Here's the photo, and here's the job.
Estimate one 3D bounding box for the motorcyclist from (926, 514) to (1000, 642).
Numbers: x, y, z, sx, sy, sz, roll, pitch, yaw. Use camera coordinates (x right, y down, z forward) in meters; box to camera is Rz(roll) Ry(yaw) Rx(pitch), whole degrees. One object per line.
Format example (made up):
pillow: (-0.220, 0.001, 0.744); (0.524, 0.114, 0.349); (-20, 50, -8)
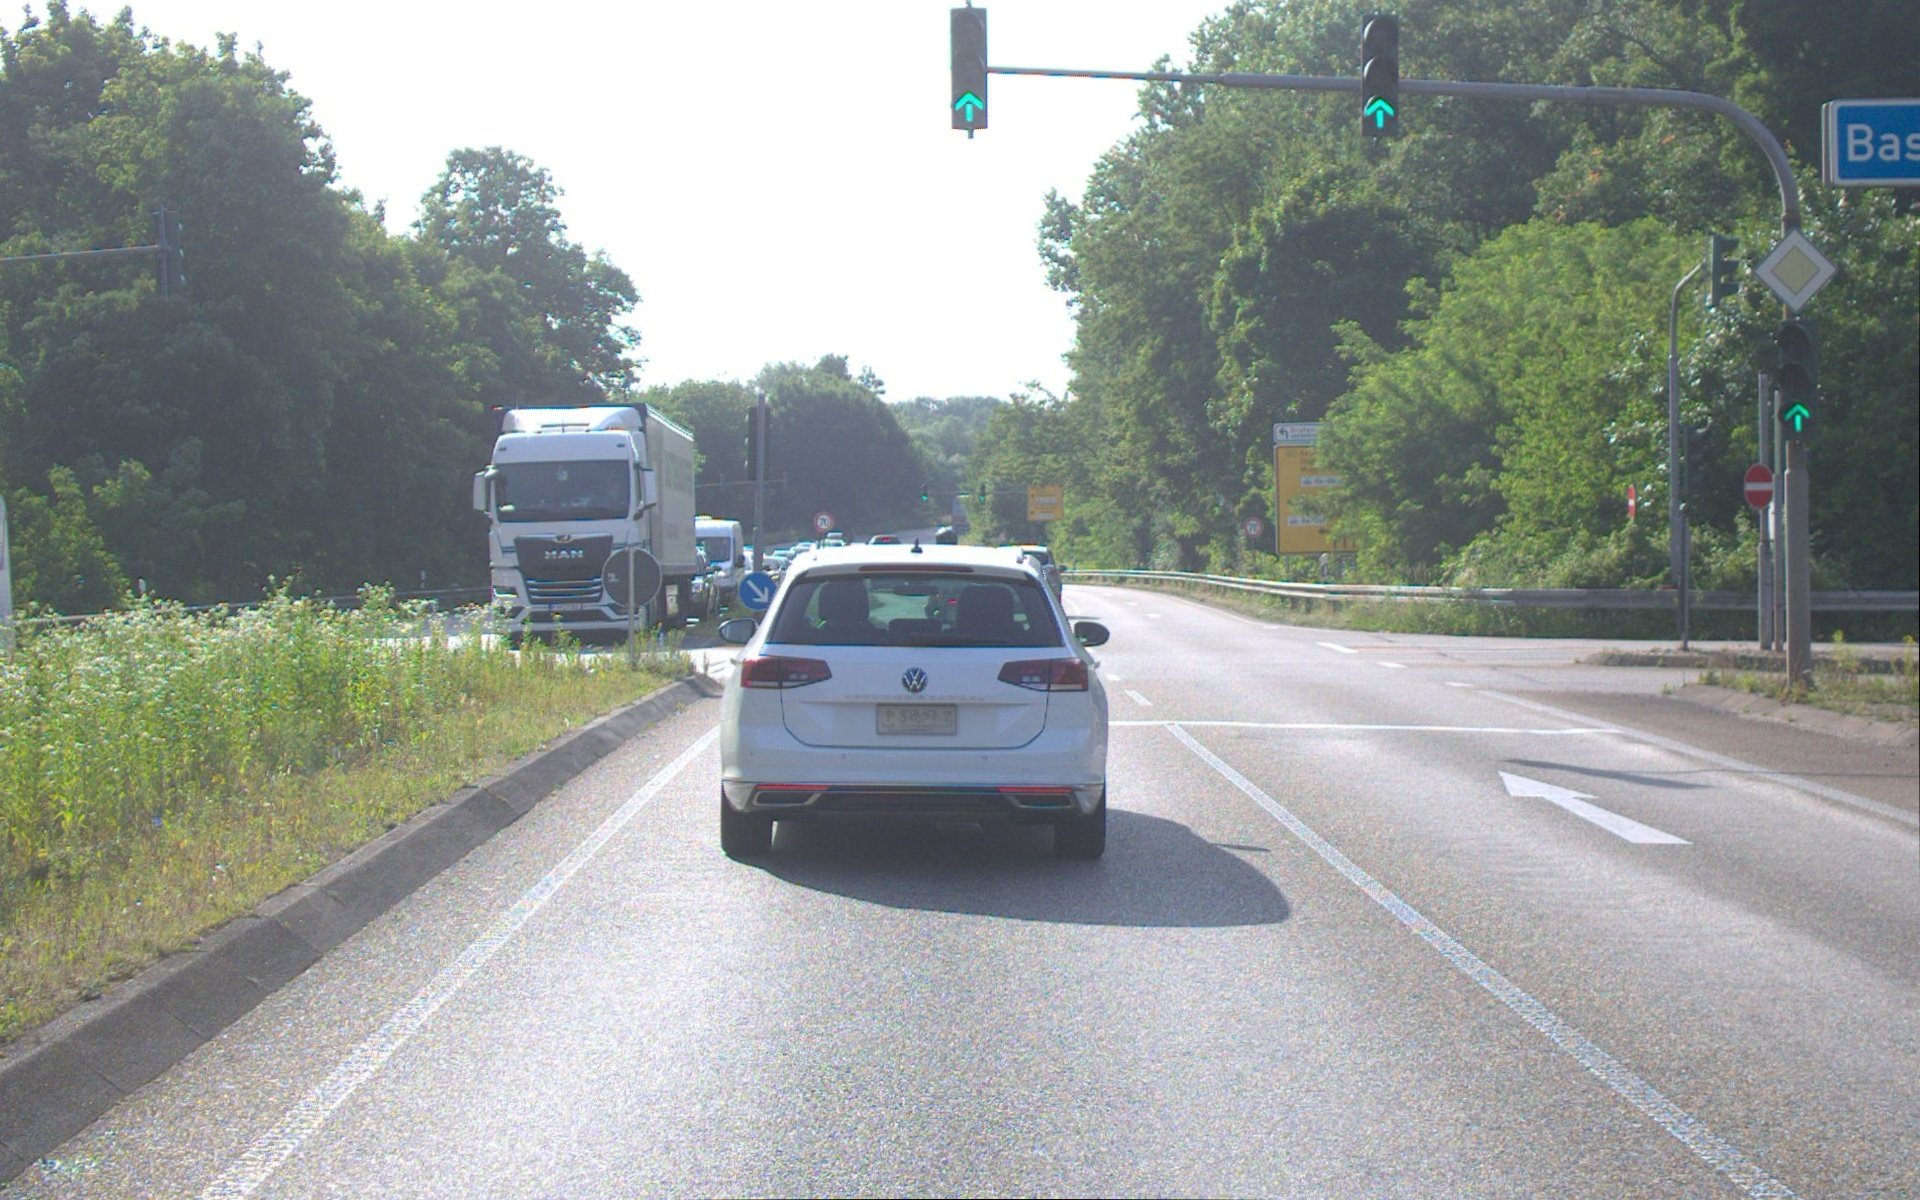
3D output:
motorcyclist: (0.043, -0.293, 44.308); (0.884, 1.610, 1.290); (1, 1, 2)

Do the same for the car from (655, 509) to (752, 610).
car: (-6.789, -1.105, 91.505); (2.075, 2.525, 6.164); (-2, 1, 0)

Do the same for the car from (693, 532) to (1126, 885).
car: (-0.234, 0.427, 17.421); (1.870, 1.516, 4.834); (1, 1, 0)

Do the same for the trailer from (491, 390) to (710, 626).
trailer: (-6.646, -1.700, 65.670); (2.991, 3.982, 14.015); (1, 1, -1)

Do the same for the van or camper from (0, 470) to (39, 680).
van or camper: (-13.535, -0.238, 42.571); (2.413, 2.701, 6.437); (-3, 1, 0)

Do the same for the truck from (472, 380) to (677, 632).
truck: (-6.460, -1.570, 58.491); (2.890, 3.983, 6.722); (1, 1, -2)

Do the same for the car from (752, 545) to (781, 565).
car: (-13.680, -3.164, 243.531); (1.761, 1.375, 3.972); (1, 1, 1)

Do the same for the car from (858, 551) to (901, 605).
car: (-4.545, -1.269, 195.070); (2.210, 2.878, 7.011); (-2, 1, 0)

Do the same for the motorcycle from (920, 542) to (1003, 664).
motorcycle: (0.035, 0.019, 44.259); (0.909, 1.448, 2.689); (-3, 1, 2)

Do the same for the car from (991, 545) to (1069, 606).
car: (1.630, -0.586, 80.923); (1.761, 1.375, 3.972); (1, 1, 1)

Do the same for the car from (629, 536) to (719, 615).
car: (-6.264, -0.561, 75.630); (1.700, 1.626, 4.371); (-2, 1, -2)
